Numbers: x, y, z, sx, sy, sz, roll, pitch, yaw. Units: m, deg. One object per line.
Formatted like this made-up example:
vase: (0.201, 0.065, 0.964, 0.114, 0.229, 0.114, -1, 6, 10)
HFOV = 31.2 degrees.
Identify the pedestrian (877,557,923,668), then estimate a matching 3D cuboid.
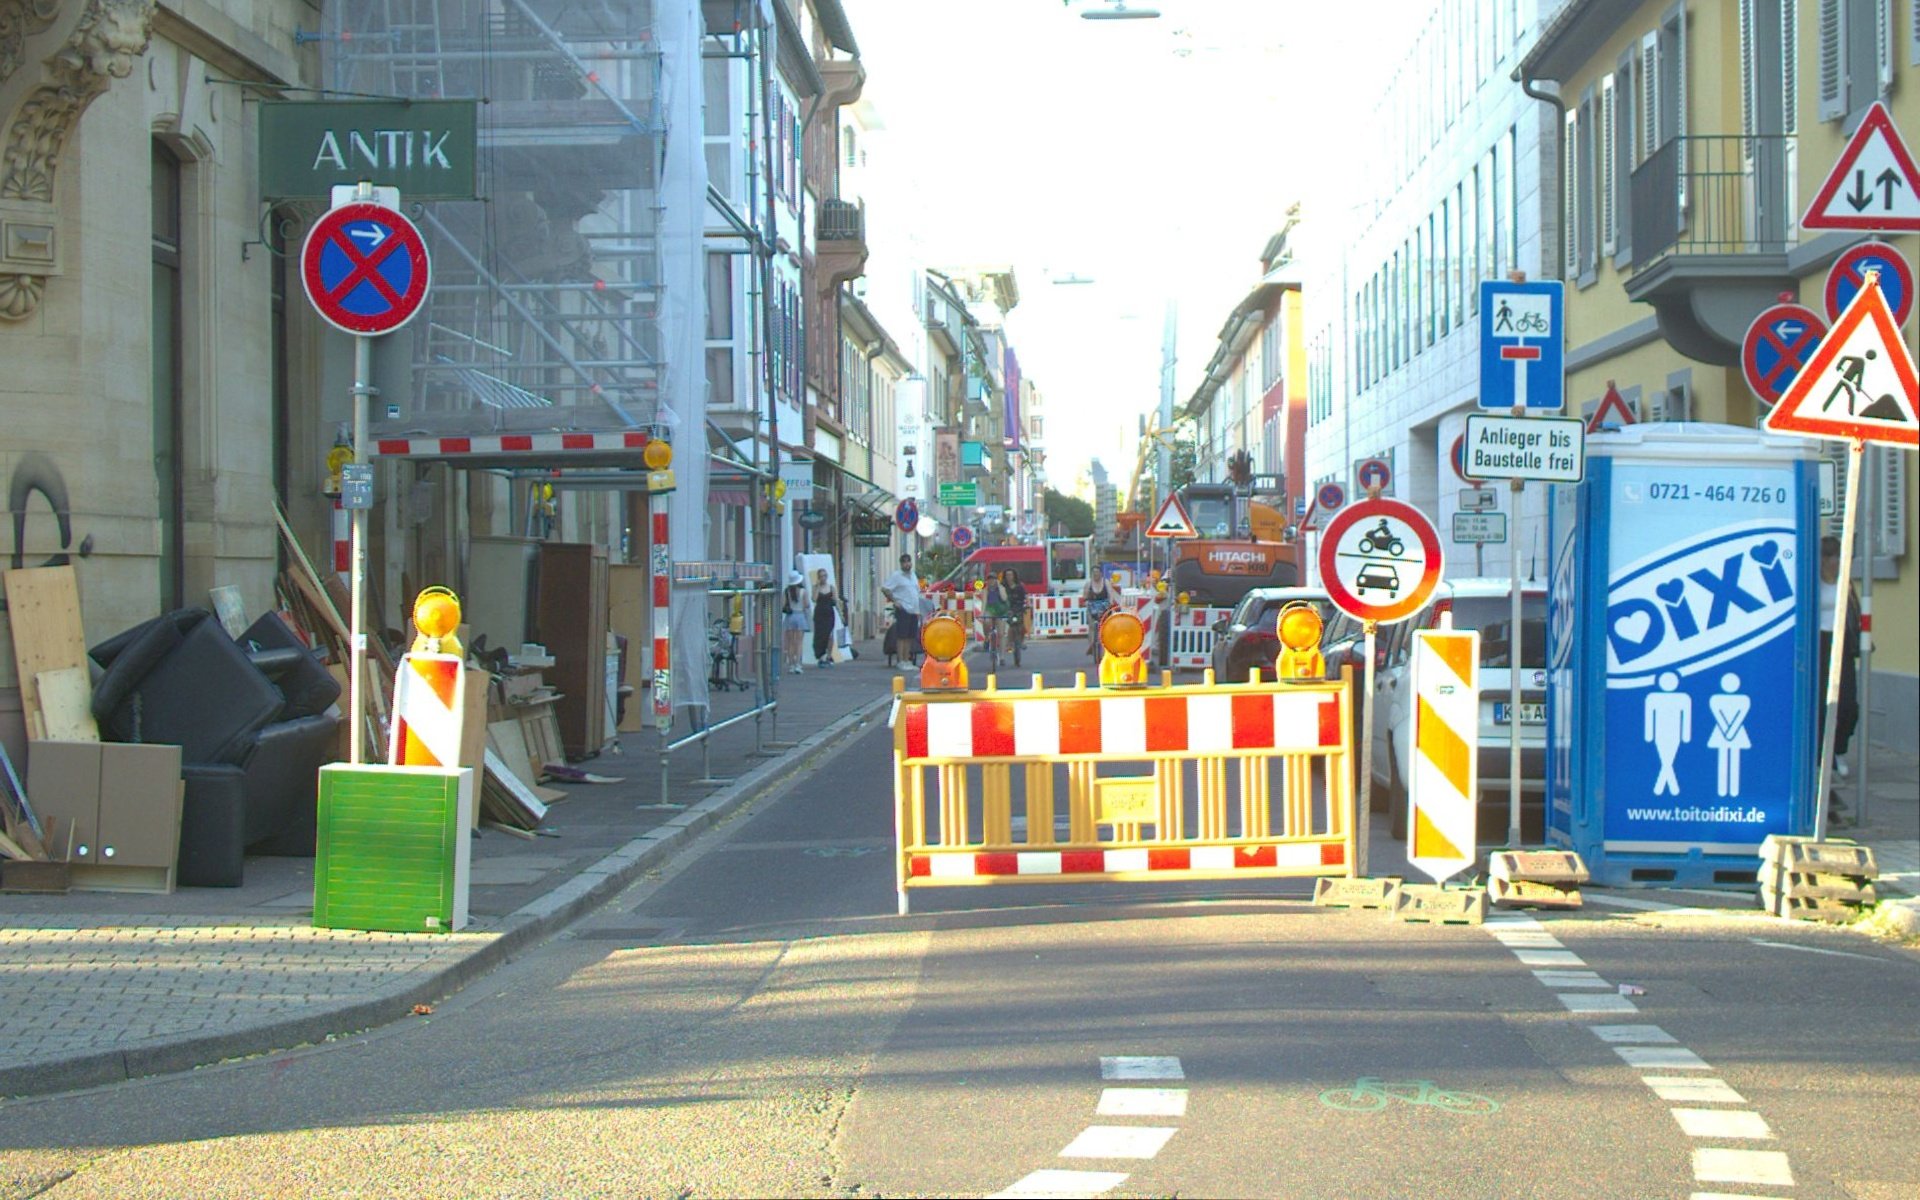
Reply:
pedestrian: (-0.952, 0.195, 54.776, 0.504, 1.758, 0.512, -1, 1, -39)

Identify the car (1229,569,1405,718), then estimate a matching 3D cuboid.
car: (3.833, 0.435, 37.318, 1.718, 1.515, 3.221, -1, 1, 3)

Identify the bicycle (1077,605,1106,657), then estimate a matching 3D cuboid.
bicycle: (2.331, 0.546, 60.966, 0.504, 0.881, 1.477, 0, 1, 2)

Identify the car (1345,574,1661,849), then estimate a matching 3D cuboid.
car: (3.247, 0.618, 21.039, 1.540, 1.515, 3.221, 1, 1, 3)

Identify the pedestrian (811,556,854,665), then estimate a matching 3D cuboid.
pedestrian: (-2.051, 0.168, 55.294, 0.676, 1.727, 0.700, 0, 0, -1)

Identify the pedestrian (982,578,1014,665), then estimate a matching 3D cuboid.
pedestrian: (0.647, 0.365, 58.343, 0.504, 1.456, 0.512, 0, 1, 3)

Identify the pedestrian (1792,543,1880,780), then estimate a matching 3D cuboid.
pedestrian: (5.988, 0.411, 23.510, 0.467, 1.589, 0.673, -1, 1, 5)

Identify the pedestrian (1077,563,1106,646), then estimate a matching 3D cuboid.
pedestrian: (2.330, 0.078, 60.882, 0.504, 1.456, 0.512, 0, 1, 3)

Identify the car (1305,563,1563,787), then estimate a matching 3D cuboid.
car: (3.458, 0.498, 25.645, 1.540, 1.515, 3.978, -1, 1, 3)

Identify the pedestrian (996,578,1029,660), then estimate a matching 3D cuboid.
pedestrian: (0.929, 0.335, 61.035, 0.504, 1.456, 0.512, 0, 1, 9)
